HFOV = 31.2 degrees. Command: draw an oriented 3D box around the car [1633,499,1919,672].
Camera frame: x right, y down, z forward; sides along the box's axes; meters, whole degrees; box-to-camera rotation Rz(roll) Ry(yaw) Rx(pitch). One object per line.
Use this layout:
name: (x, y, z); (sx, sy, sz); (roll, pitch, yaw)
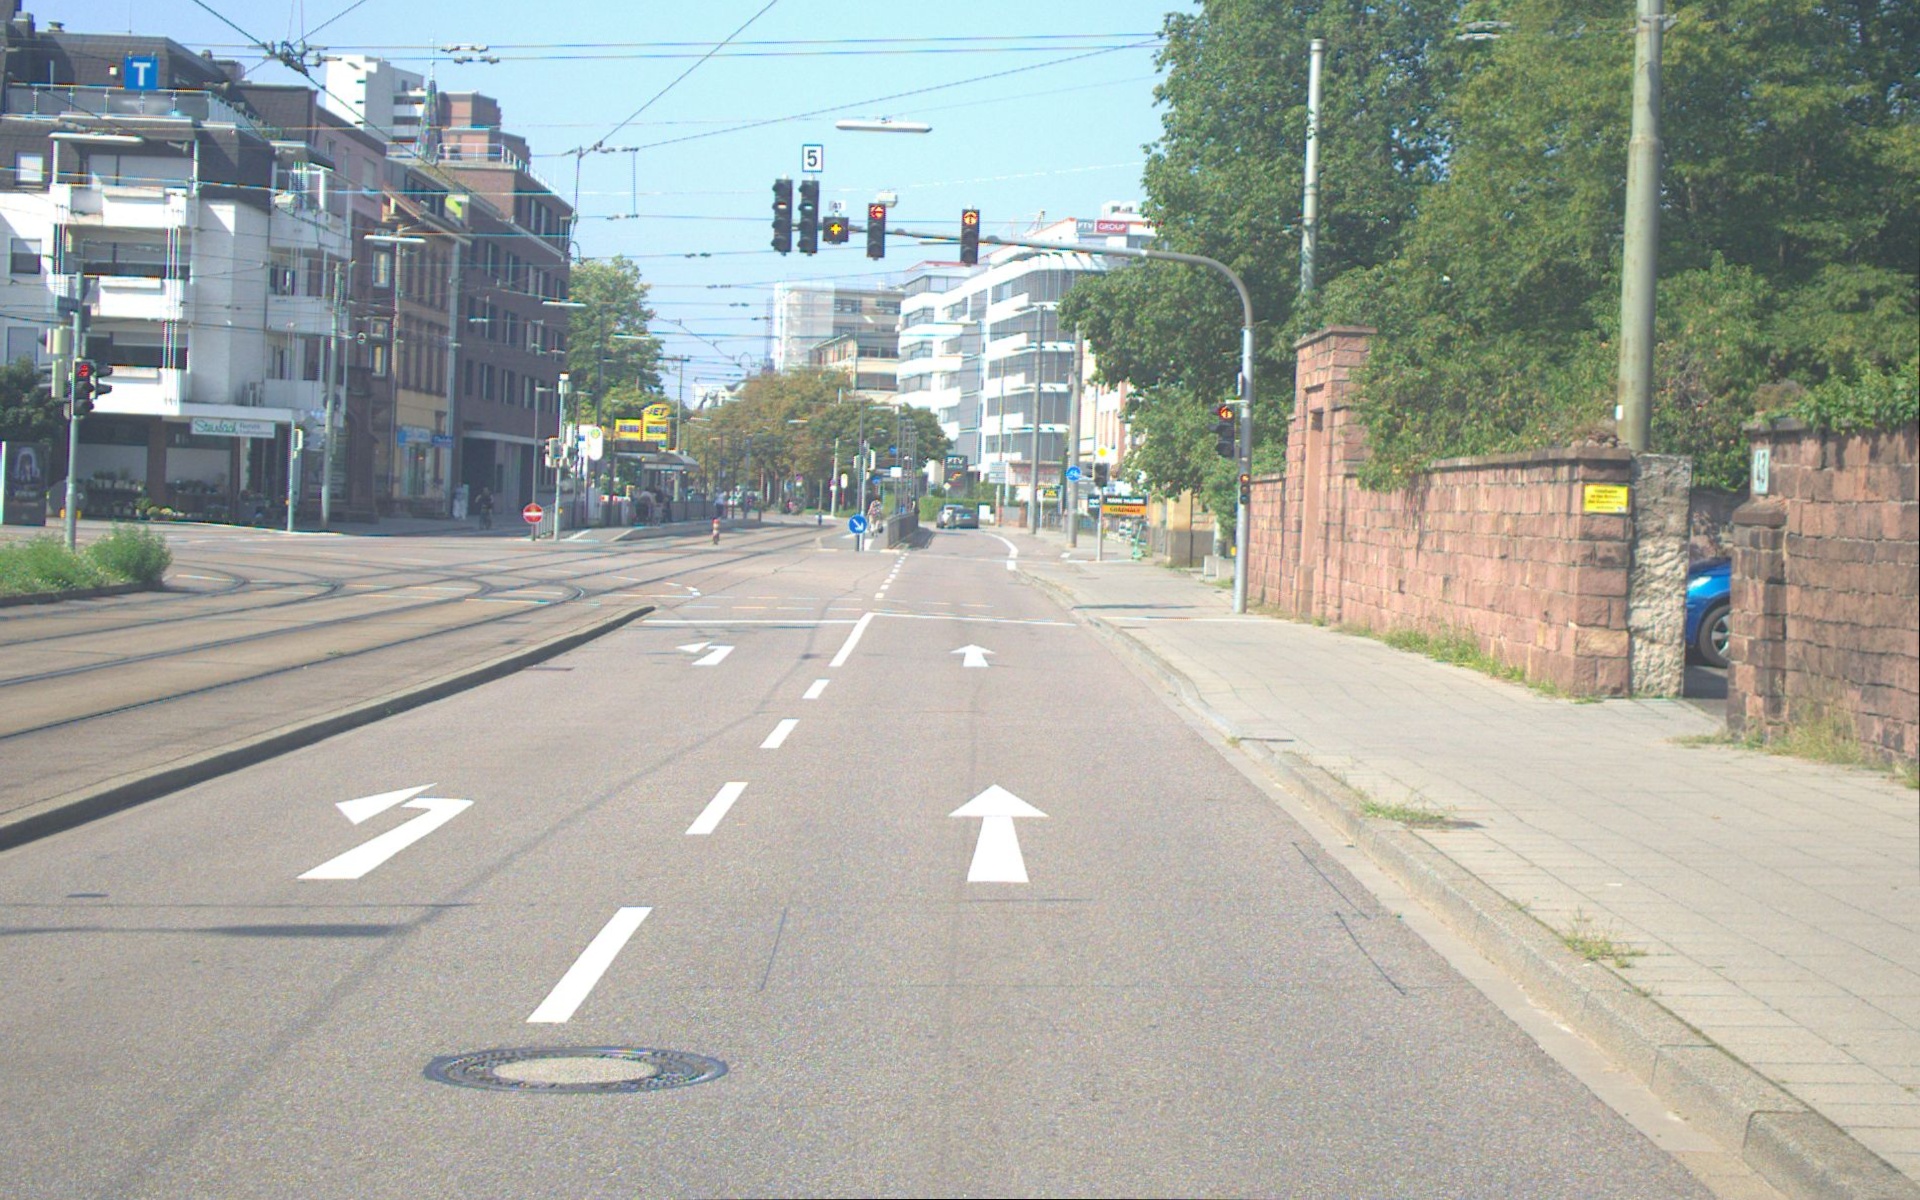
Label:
car: (8.625, -0.120, 32.802); (3.967, 1.459, 1.778); (3, 3, -1)

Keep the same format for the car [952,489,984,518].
car: (0.535, -6.406, 228.340); (2.011, 1.852, 4.000); (1, 2, 1)
